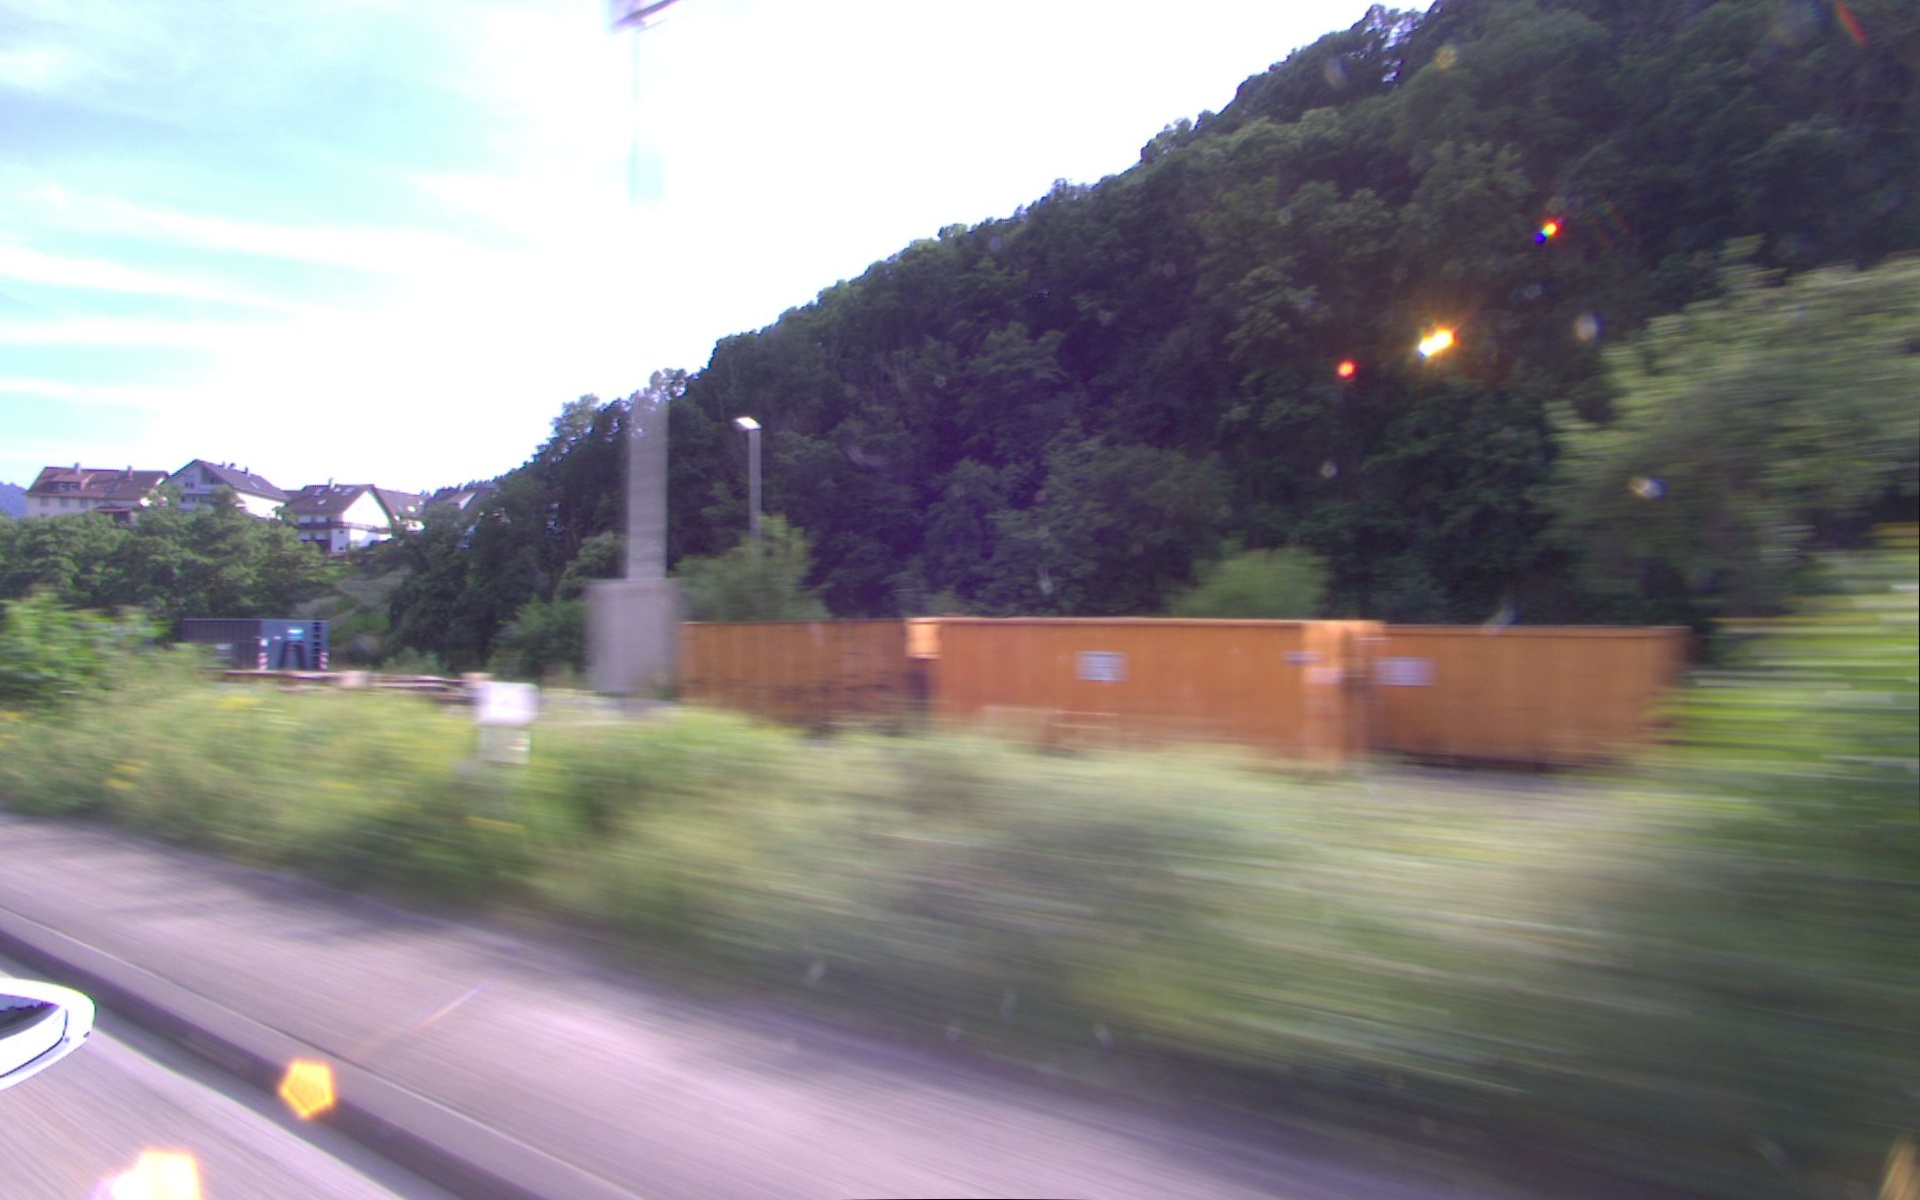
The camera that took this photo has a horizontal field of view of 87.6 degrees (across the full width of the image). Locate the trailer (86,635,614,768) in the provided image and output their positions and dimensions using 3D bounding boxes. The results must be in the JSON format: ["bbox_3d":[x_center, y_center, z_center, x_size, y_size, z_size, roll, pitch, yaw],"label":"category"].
[{"bbox_3d":[-9.944,1.441,15.789,9.740,1.491,2.792,0,-5,31],"label":"trailer"}]
